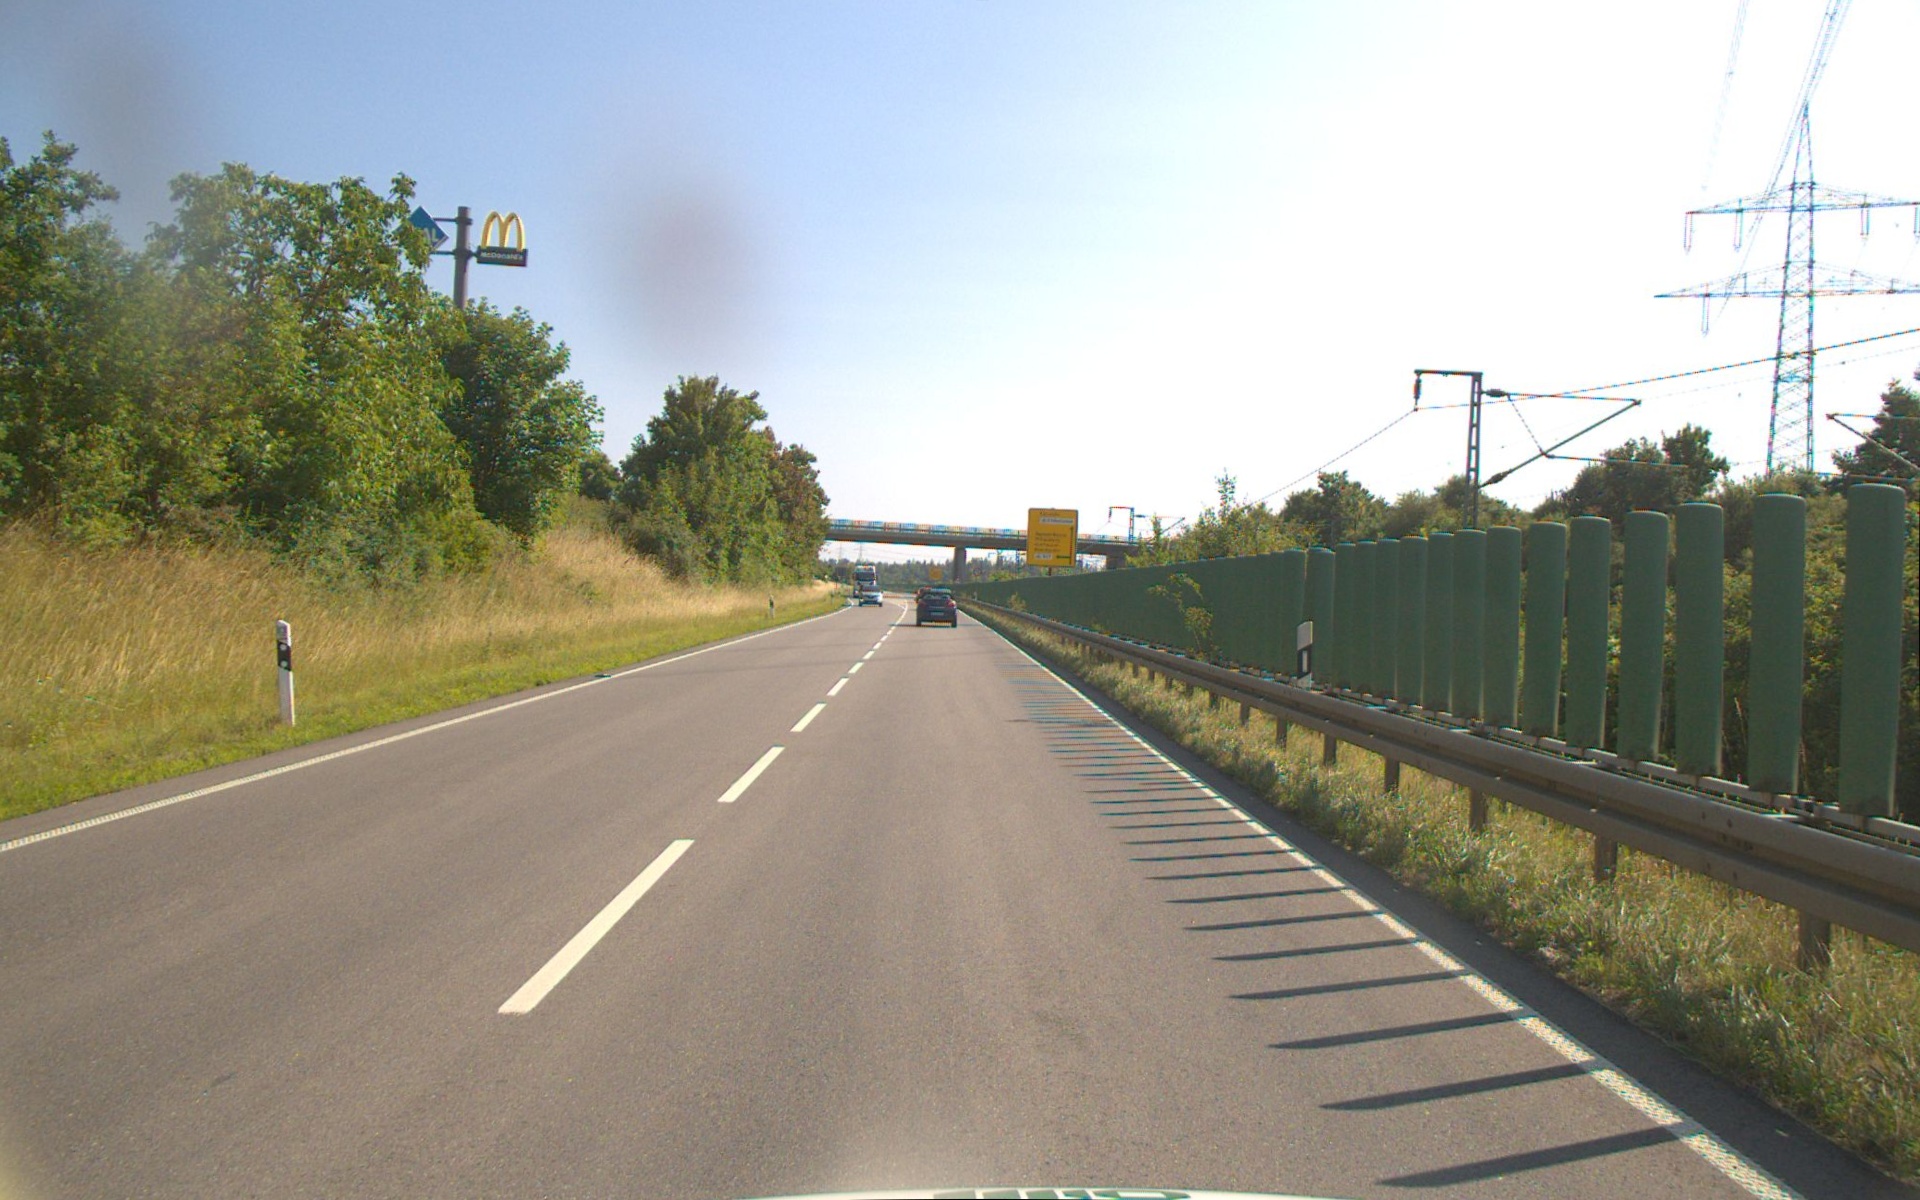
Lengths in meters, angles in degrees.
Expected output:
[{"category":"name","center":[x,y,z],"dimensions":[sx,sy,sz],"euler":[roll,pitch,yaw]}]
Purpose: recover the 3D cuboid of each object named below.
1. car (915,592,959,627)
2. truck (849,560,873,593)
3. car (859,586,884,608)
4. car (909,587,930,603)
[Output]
[{"category":"car","center":[-0.948,0.357,65.942],"dimensions":[1.630,1.283,3.998],"euler":[2,0,-2]},{"category":"truck","center":[-11.612,-2.727,194.948],"dimensions":[2.508,3.753,10.483],"euler":[1,1,-2]},{"category":"car","center":[-6.599,-0.224,123.404],"dimensions":[1.760,1.621,3.998],"euler":[2,0,-2]},{"category":"car","center":[-3.813,-0.433,156.032],"dimensions":[1.857,1.443,3.998],"euler":[2,0,-2]}]
